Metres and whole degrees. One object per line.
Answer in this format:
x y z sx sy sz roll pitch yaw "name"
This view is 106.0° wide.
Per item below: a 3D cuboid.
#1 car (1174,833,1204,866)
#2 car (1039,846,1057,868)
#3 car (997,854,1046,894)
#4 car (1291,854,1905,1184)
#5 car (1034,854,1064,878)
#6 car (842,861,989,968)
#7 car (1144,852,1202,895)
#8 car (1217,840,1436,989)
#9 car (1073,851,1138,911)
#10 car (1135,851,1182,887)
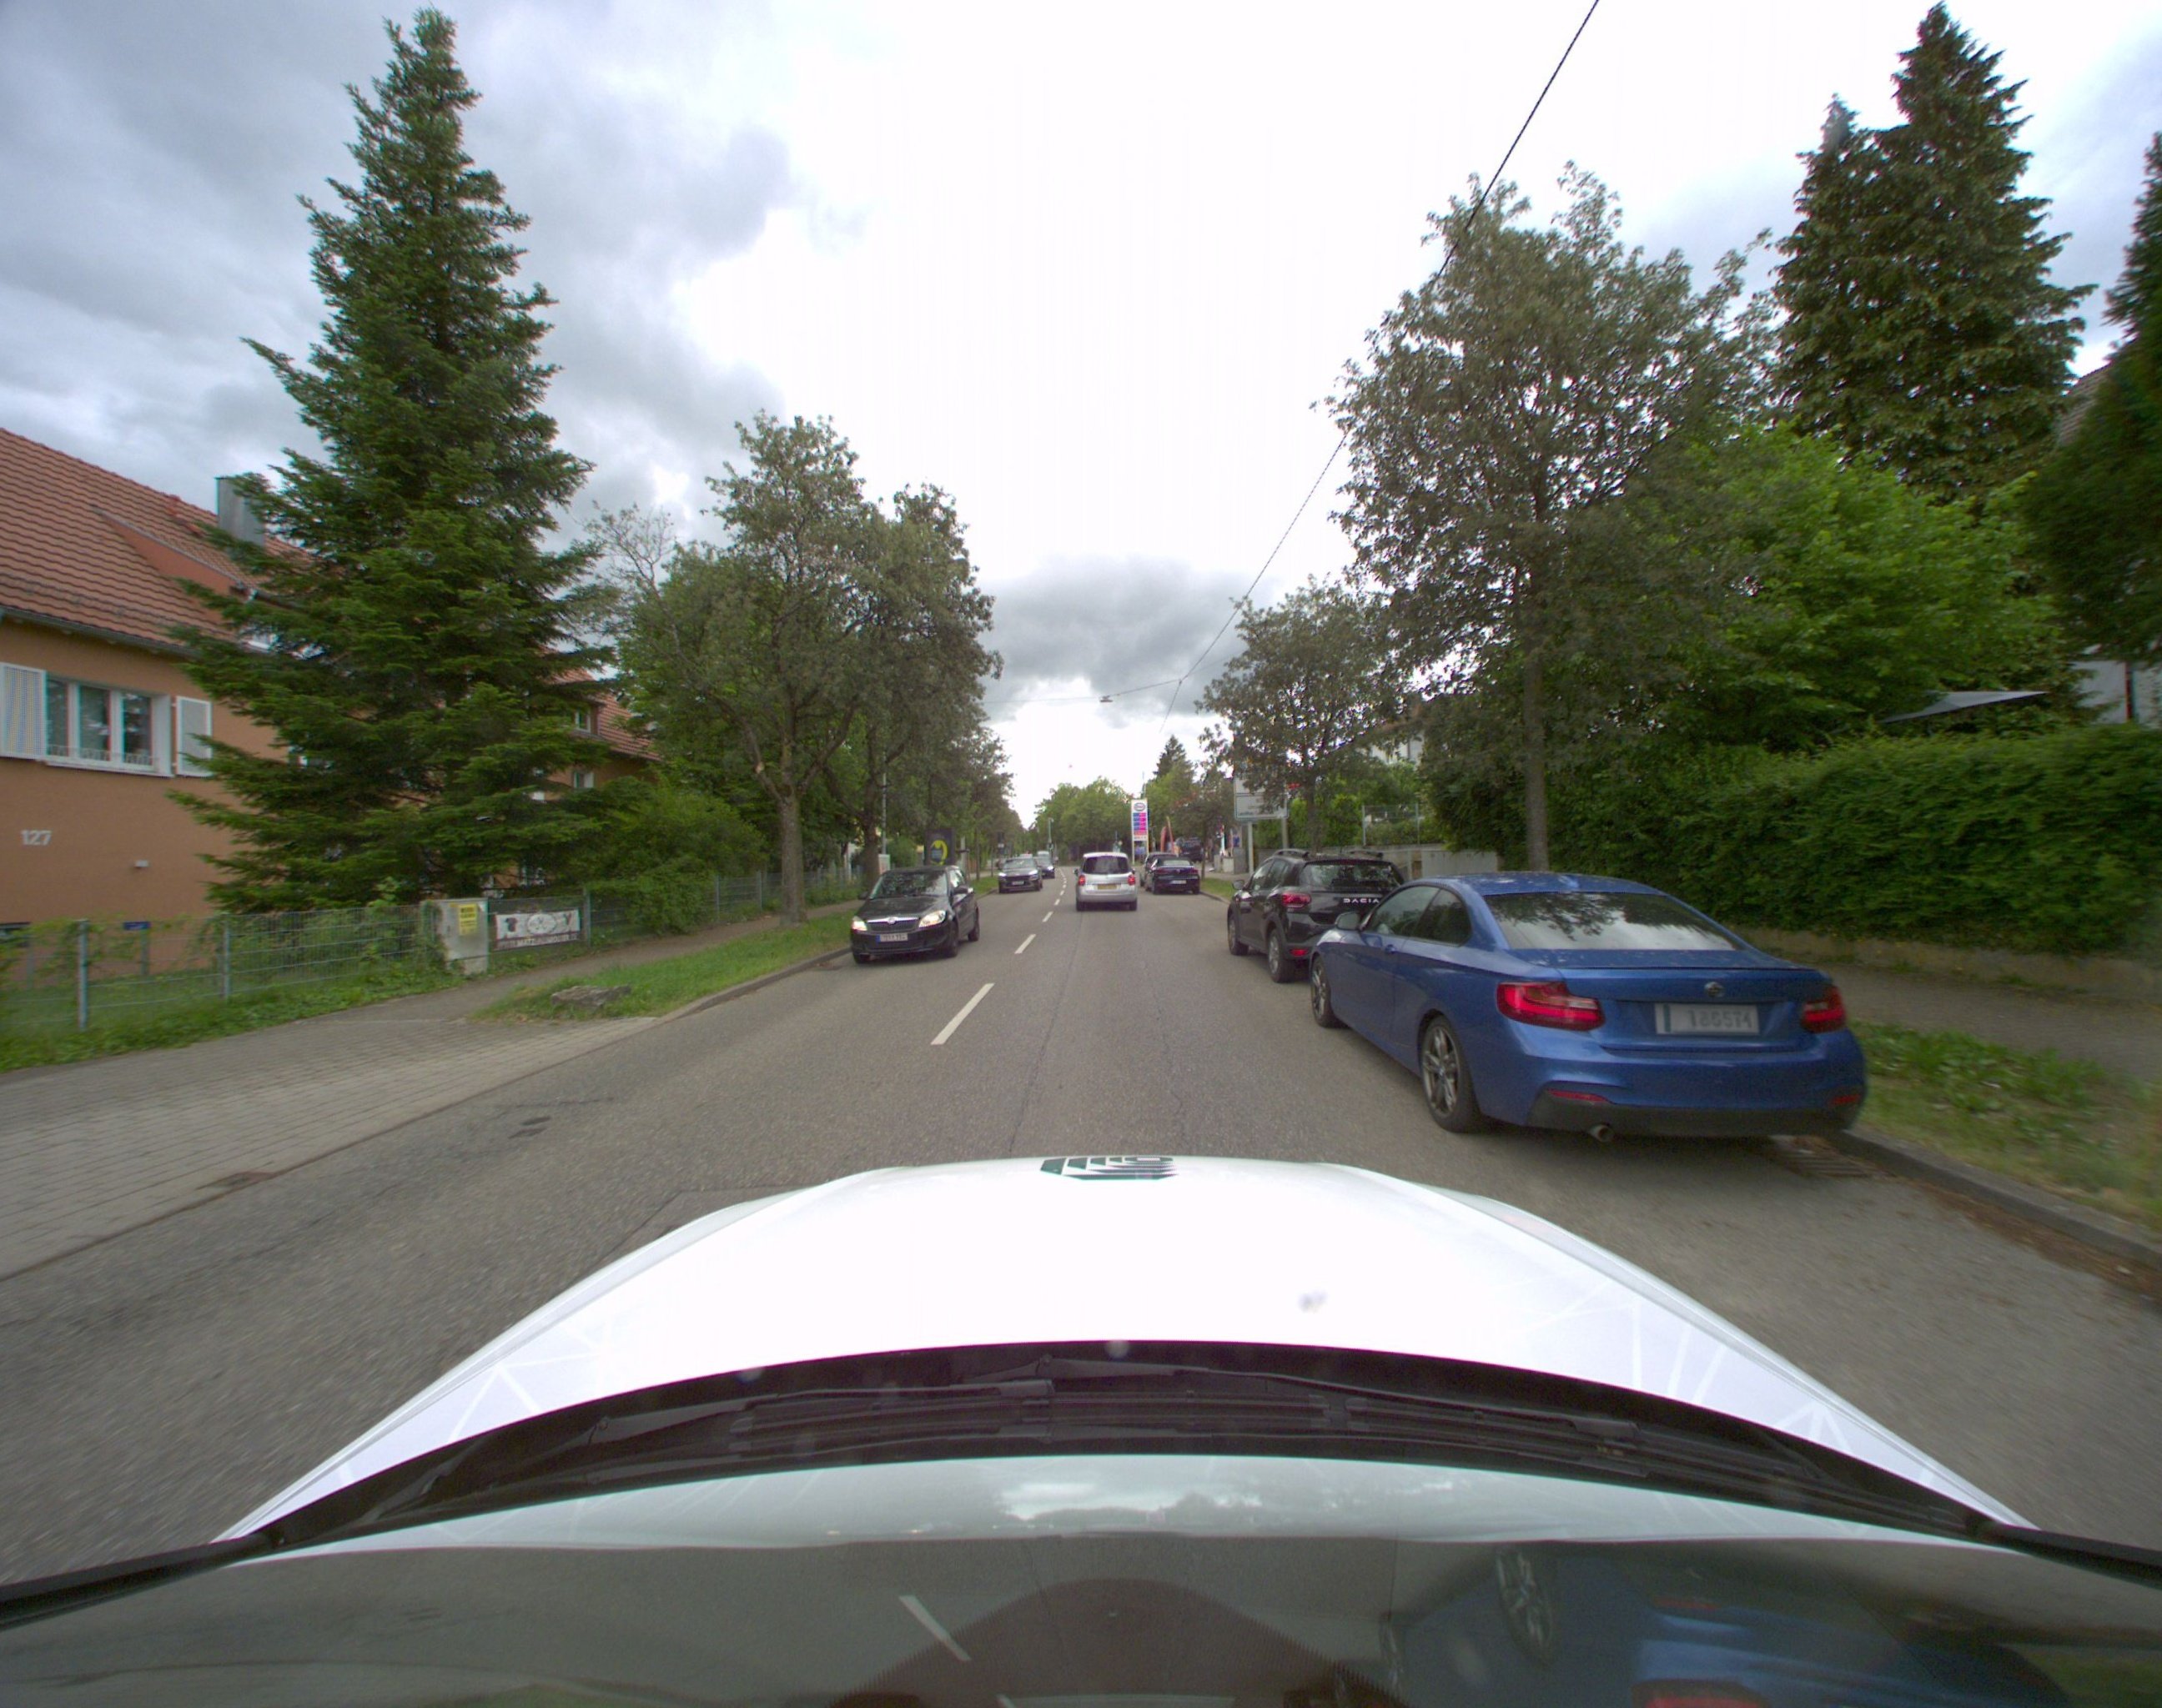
10.134 -0.420 76.592 2.273 2.911 5.281 -1 0 1 "car"
-3.953 0.348 97.221 1.928 2.408 3.999 -2 0 -1 "car"
-2.644 0.858 36.888 1.788 1.555 3.672 -4 0 0 "car"
2.848 0.732 5.783 1.690 1.433 4.341 -1 0 1 "car"
-2.113 0.800 54.506 1.689 1.506 3.646 -2 0 2 "car"
-2.699 0.924 14.091 1.539 1.470 3.744 -4 0 2 "car"
3.485 0.694 31.491 1.690 1.506 3.971 -2 0 -1 "car"
3.061 0.673 11.045 1.690 1.570 3.954 -3 0 0 "car"
0.672 0.703 23.135 1.673 1.560 3.512 -1 0 1 "car"
3.482 0.634 37.028 1.690 1.506 3.642 -2 0 -1 "car"
